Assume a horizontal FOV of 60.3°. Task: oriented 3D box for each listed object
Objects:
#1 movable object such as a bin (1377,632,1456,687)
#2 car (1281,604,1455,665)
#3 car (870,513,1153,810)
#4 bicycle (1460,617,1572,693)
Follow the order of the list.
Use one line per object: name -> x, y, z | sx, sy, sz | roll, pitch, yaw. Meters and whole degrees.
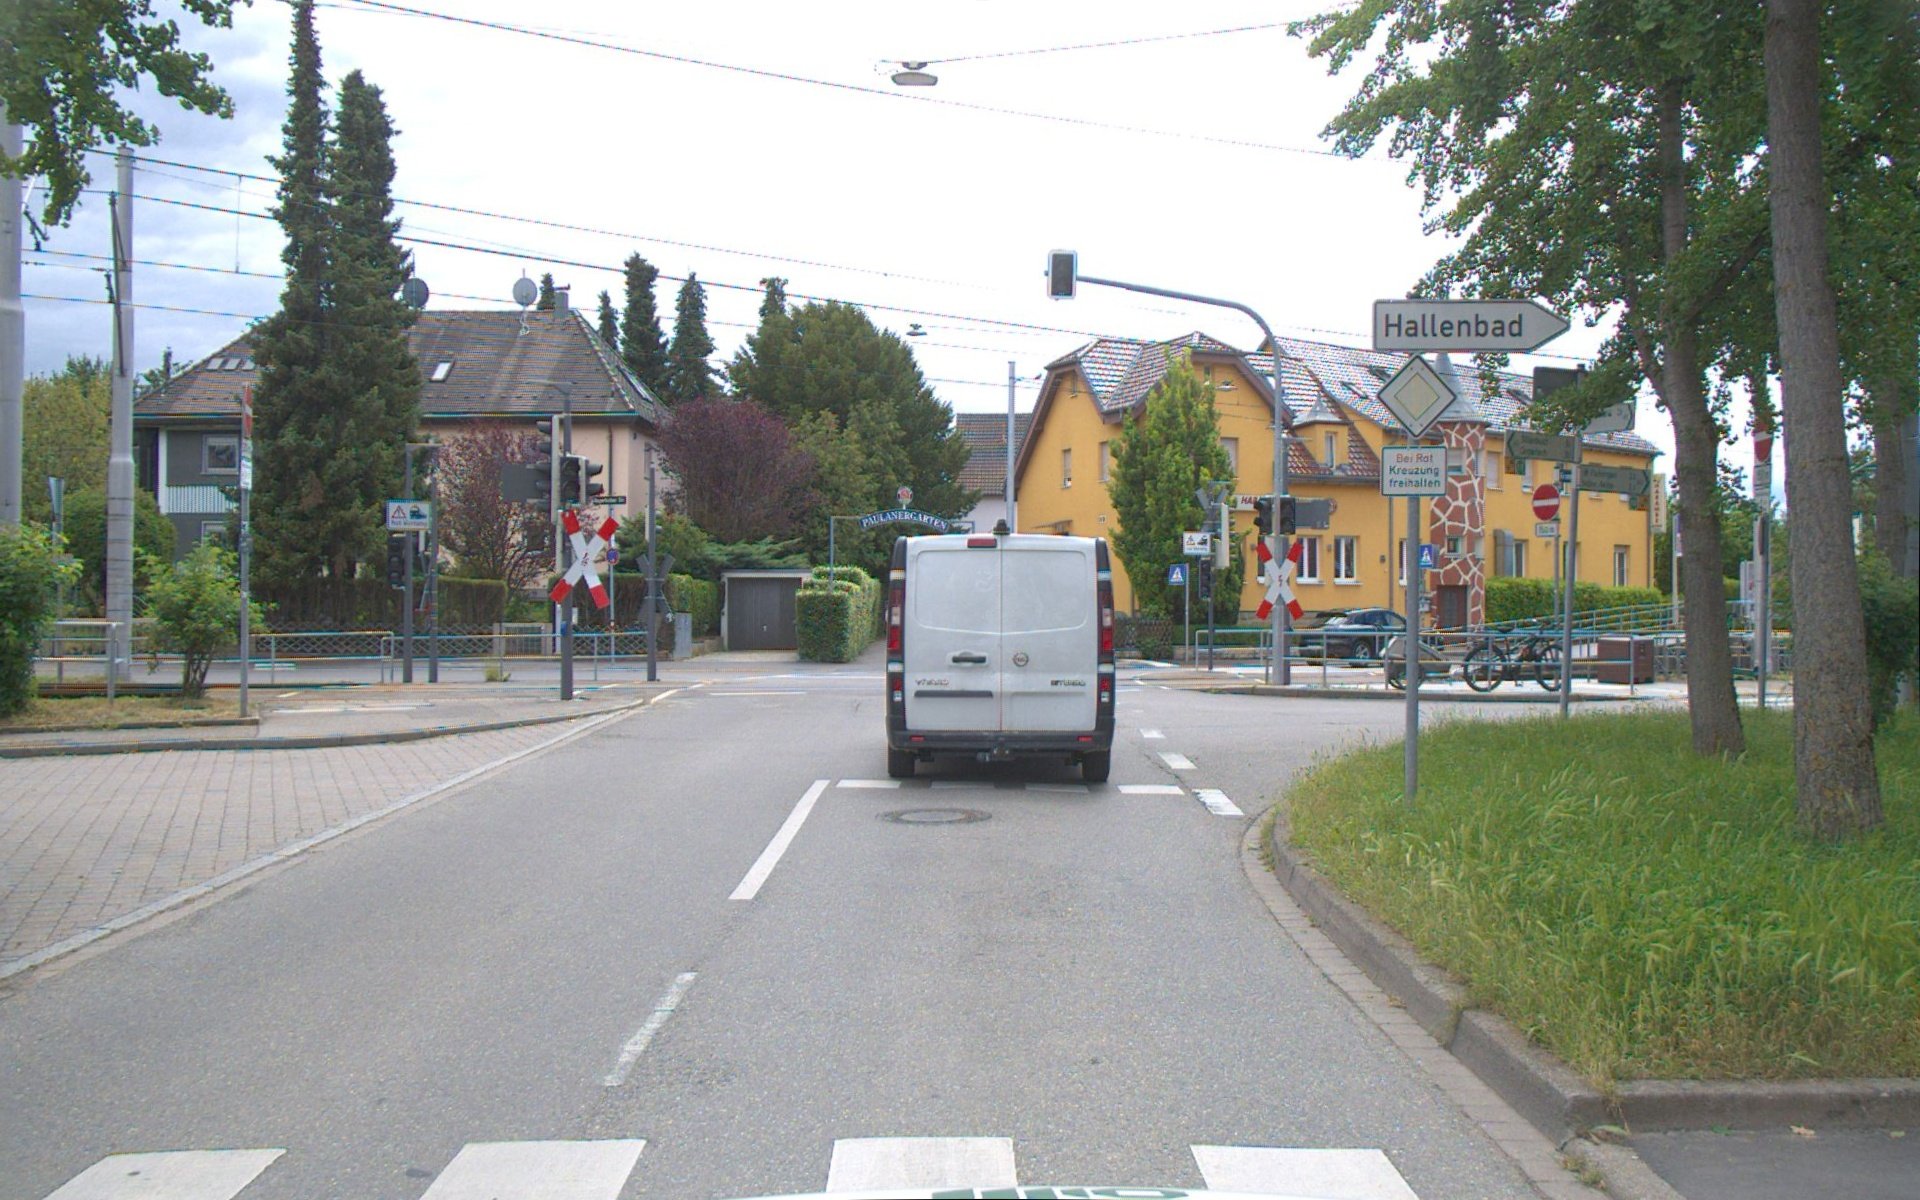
movable object such as a bin -> 7.190, 0.938, 26.089 | 1.070, 0.839, 0.579 | 0, -1, -5
car -> 11.356, 0.959, 46.048 | 4.311, 1.591, 2.340 | 1, 0, -30
car -> 0.289, 0.453, 14.931 | 2.074, 2.171, 5.438 | 1, 0, -2
bicycle -> 8.762, 0.855, 26.078 | 1.655, 1.176, 0.465 | 0, -1, -9
